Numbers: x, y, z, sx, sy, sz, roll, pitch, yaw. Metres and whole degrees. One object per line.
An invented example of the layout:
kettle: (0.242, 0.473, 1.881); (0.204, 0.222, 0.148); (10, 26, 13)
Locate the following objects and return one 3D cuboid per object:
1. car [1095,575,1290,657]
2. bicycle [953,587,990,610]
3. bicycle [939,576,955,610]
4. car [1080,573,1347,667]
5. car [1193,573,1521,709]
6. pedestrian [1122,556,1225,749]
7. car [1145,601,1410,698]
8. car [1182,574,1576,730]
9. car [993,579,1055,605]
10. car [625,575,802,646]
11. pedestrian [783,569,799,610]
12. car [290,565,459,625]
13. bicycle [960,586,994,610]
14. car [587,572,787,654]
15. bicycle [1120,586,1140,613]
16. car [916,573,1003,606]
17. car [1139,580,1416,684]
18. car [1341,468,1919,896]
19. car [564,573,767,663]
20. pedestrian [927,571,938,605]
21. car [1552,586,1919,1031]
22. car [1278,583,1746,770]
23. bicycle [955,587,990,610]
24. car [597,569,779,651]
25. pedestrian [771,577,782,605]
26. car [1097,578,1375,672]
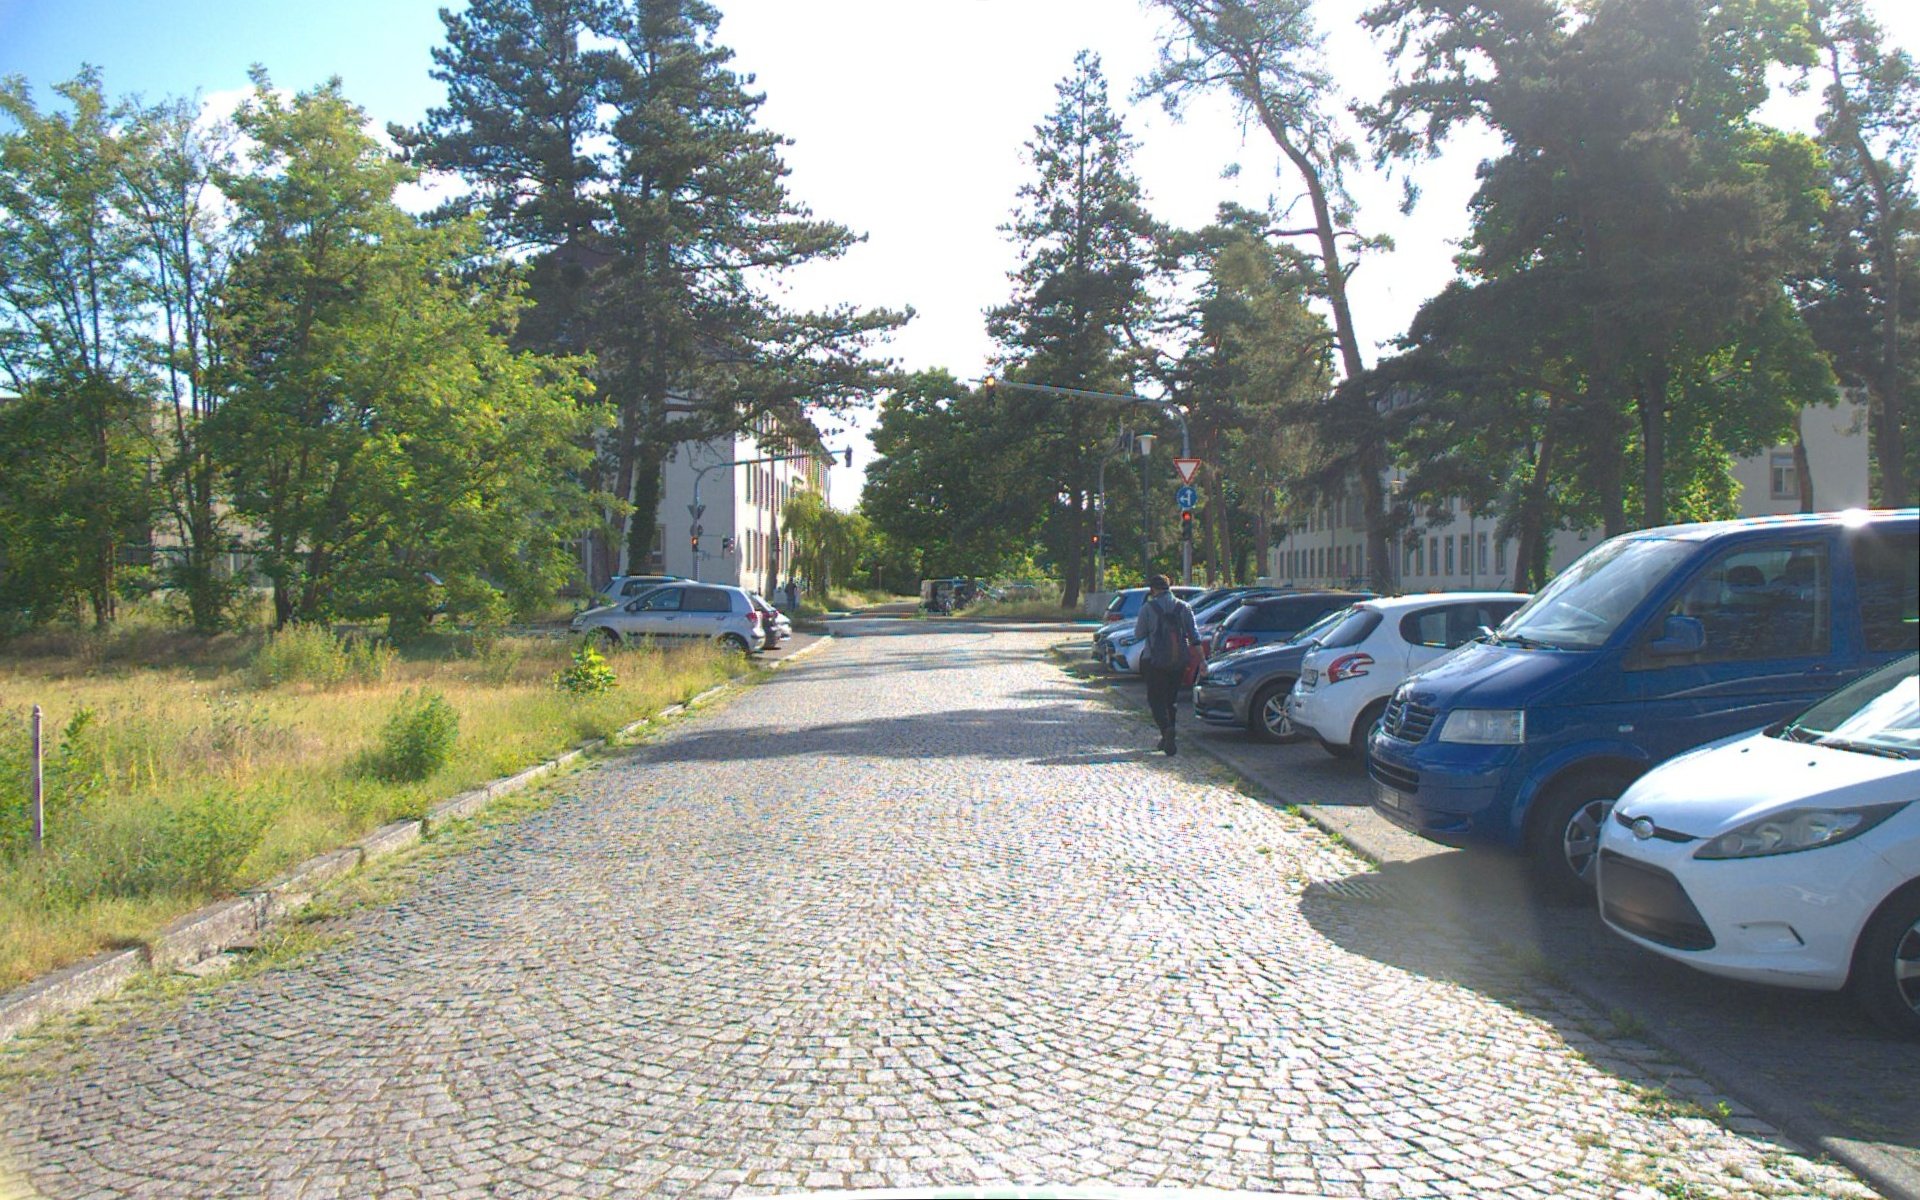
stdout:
car: (4.578, 0.297, 32.904); (3.598, 1.468, 1.665); (-2, 1, -1)
bicycle: (0.565, -0.057, 81.791); (1.798, 1.131, 0.495); (0, 0, -4)
bicycle: (-0.631, -0.354, 78.587); (0.738, 1.608, 2.536); (0, 1, -1)
car: (4.599, 0.338, 30.367); (4.528, 1.481, 1.869); (-2, 1, -3)
car: (4.805, 0.471, 20.350); (3.588, 1.480, 1.666); (-2, 1, -1)
pedestrian: (2.044, 0.486, 15.949); (0.738, 1.755, 0.828); (5, 0, -1)
car: (4.337, 0.663, 22.915); (3.390, 1.264, 1.536); (0, 1, 0)
car: (4.313, 0.508, 17.447); (3.703, 1.476, 1.758); (-1, 1, 1)
car: (3.992, -0.506, 103.663); (3.673, 1.607, 1.738); (0, 1, -8)
car: (-5.939, 0.240, 40.073); (3.903, 1.522, 1.774); (2, 1, 4)
pedestrian: (-7.359, -0.470, 72.034); (0.597, 1.783, 0.627); (0, 0, -19)
car: (-16.601, -0.158, 47.048); (4.059, 1.636, 2.010); (0, 1, 0)
bicycle: (0.849, -0.106, 83.021); (1.693, 1.185, 0.560); (0, 0, -4)
car: (-5.642, 0.256, 34.573); (3.858, 1.470, 1.690); (3, 0, -2)
bicycle: (7.186, -0.027, 69.989); (0.706, 1.134, 2.586); (0, 1, 9)
car: (-0.030, -0.637, 99.658); (4.975, 1.951, 1.995); (0, 1, -10)
car: (4.800, 0.461, 25.310); (3.898, 1.474, 1.655); (-1, 1, -1)
car: (4.724, 0.355, 9.276); (4.657, 2.048, 2.000); (-2, 1, -1)
car: (-5.617, 0.336, 31.908); (3.612, 1.554, 1.698); (2, 0, -3)
pedestrian: (-1.629, -0.707, 97.793); (0.582, 2.049, 0.573); (0, 0, 1)
car: (4.503, 0.691, 6.648); (3.646, 1.492, 1.609); (-2, 1, -3)
car: (4.737, 0.627, 14.522); (3.570, 1.518, 1.634); (0, 0, 0)
bicycle: (0.626, -0.062, 82.336); (1.693, 1.131, 0.484); (0, 0, -4)
car: (-6.068, 0.215, 37.225); (3.802, 1.643, 1.660); (2, 0, -2)
pedestrian: (-10.596, -0.531, 95.625); (0.595, 1.587, 0.544); (0, 0, -7)
car: (4.562, 0.400, 27.725); (4.310, 1.413, 1.788); (-1, 1, -2)
